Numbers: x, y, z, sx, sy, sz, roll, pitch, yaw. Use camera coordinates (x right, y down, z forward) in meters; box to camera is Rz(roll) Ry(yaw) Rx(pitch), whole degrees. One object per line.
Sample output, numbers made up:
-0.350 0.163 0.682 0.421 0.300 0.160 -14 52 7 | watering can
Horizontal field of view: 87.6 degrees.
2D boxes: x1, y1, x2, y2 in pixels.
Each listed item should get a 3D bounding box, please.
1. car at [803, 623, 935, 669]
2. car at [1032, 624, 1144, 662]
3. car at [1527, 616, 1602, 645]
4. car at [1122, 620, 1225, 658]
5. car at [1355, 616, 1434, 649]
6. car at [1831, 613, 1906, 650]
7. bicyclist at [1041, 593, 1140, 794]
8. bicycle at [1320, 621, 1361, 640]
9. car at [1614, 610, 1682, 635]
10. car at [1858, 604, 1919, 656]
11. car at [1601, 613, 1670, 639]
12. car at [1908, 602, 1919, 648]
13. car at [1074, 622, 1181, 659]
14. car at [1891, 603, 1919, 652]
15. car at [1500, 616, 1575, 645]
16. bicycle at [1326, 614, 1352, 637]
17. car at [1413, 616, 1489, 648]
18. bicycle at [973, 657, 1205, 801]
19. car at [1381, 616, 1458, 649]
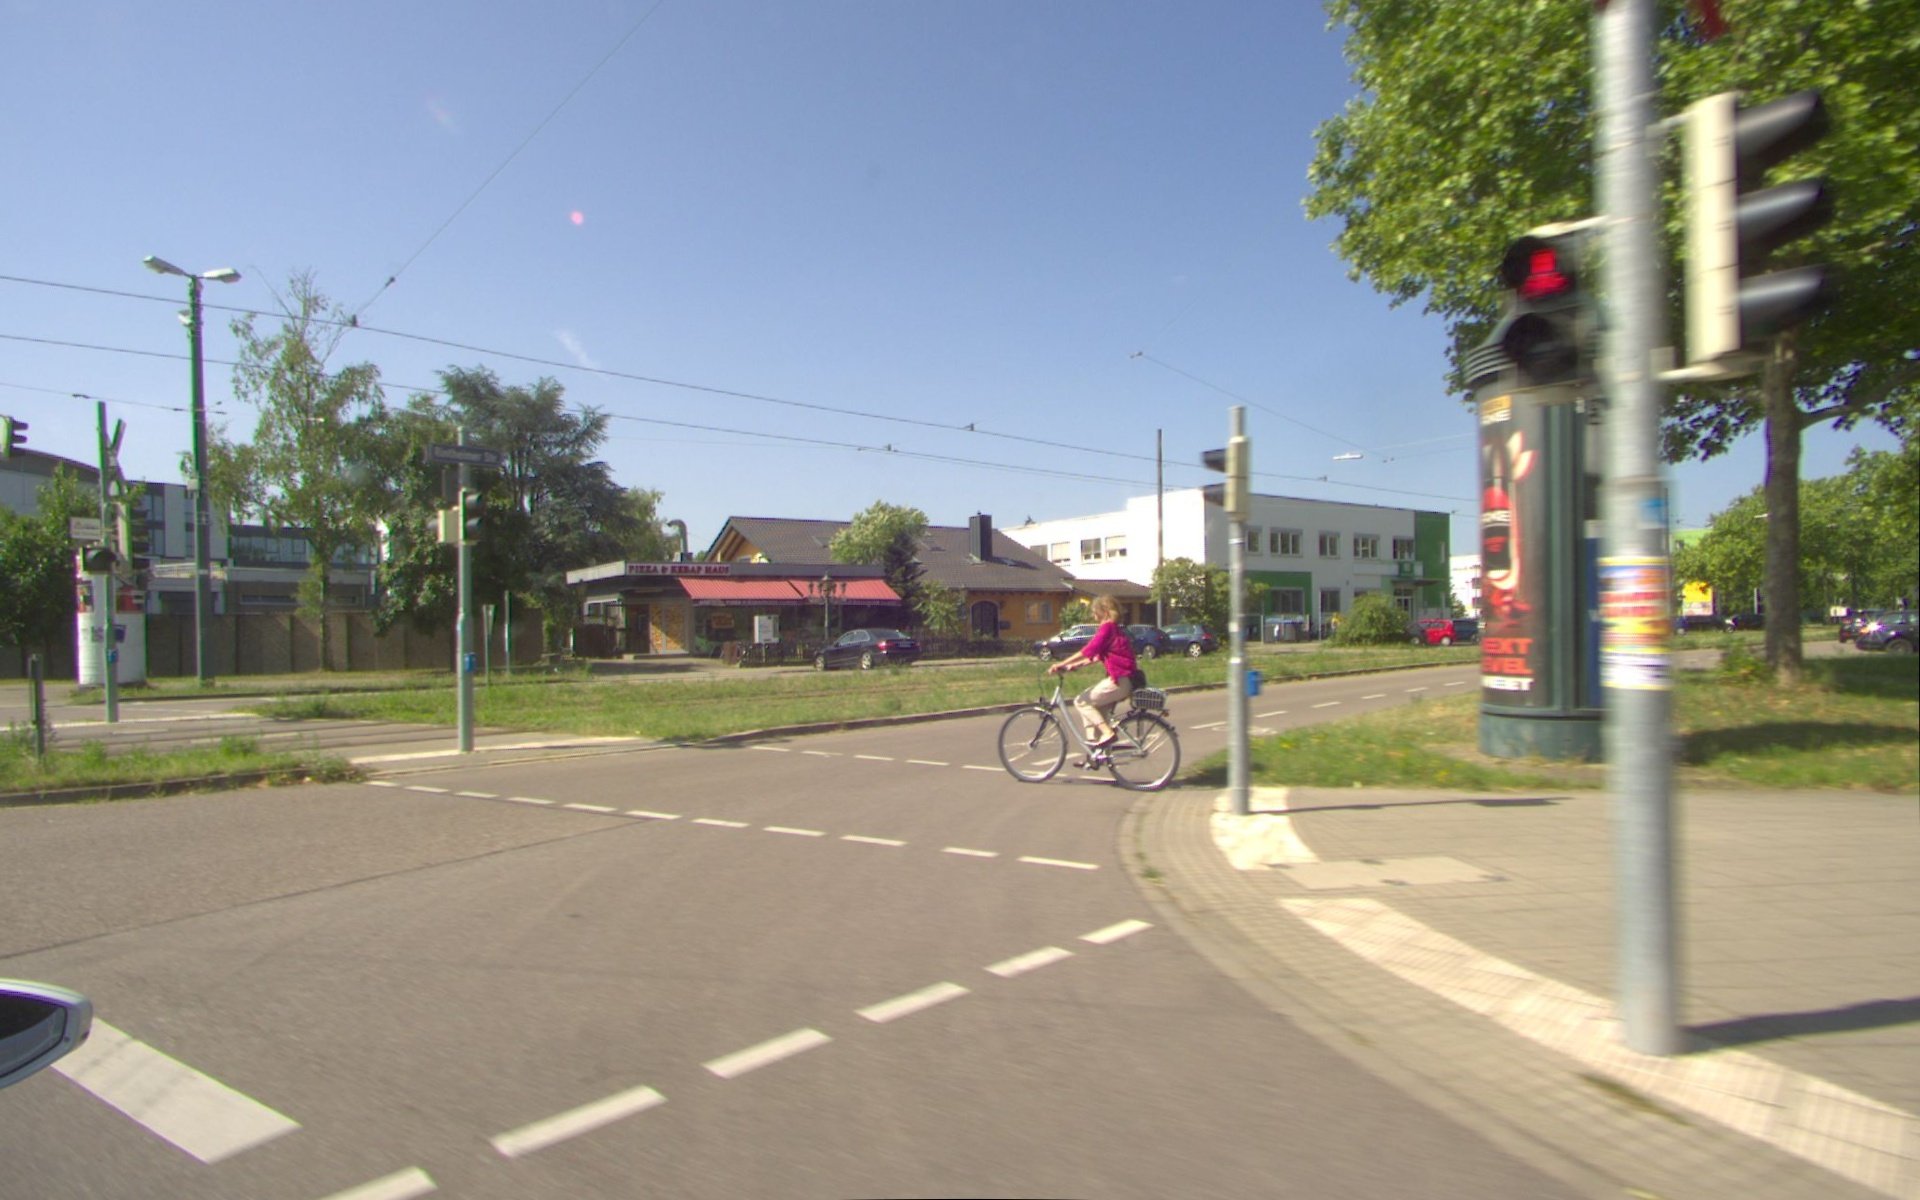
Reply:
-3.327 1.665 35.798 2.119 1.517 5.077 0 -3 -41 | car
5.320 1.807 41.708 4.141 1.517 2.135 -2 -2 28 | car
39.320 2.001 65.236 3.936 1.816 1.994 -1 -3 26 | car
9.669 1.769 45.277 4.141 1.640 2.135 -2 -2 28 | car
24.101 1.832 55.576 3.936 1.816 1.994 -1 -3 26 | car
42.253 1.463 46.543 3.950 1.676 1.782 1 -2 -35 | car
1.251 0.860 9.491 0.796 1.810 0.701 -1 0 18 | bicyclist
22.301 1.770 58.620 2.095 1.060 1.107 0 -1 -26 | bicycle
52.179 1.750 76.044 3.936 1.817 1.994 -1 -1 26 | car
29.025 0.853 29.044 1.981 1.510 4.313 0 -2 -44 | car
49.864 1.938 74.039 3.936 1.816 1.994 -1 -3 26 | car
33.462 0.772 32.156 1.981 1.510 4.312 0 -1 -44 | car
7.274 1.764 43.475 4.141 1.517 2.135 -2 -2 28 | car
31.543 0.815 30.713 1.981 1.510 4.312 0 -1 -44 | car
36.701 1.975 63.720 3.936 1.816 1.994 -1 -3 26 | car
22.149 1.477 58.528 0.766 1.343 1.214 -1 -1 -26 | bicycle
28.740 1.895 58.706 3.936 1.816 1.994 -1 -3 26 | car
1.225 1.179 9.502 2.087 1.201 0.692 0 0 18 | bicycle
26.241 1.867 57.237 3.936 1.816 1.994 -1 -3 26 | car
